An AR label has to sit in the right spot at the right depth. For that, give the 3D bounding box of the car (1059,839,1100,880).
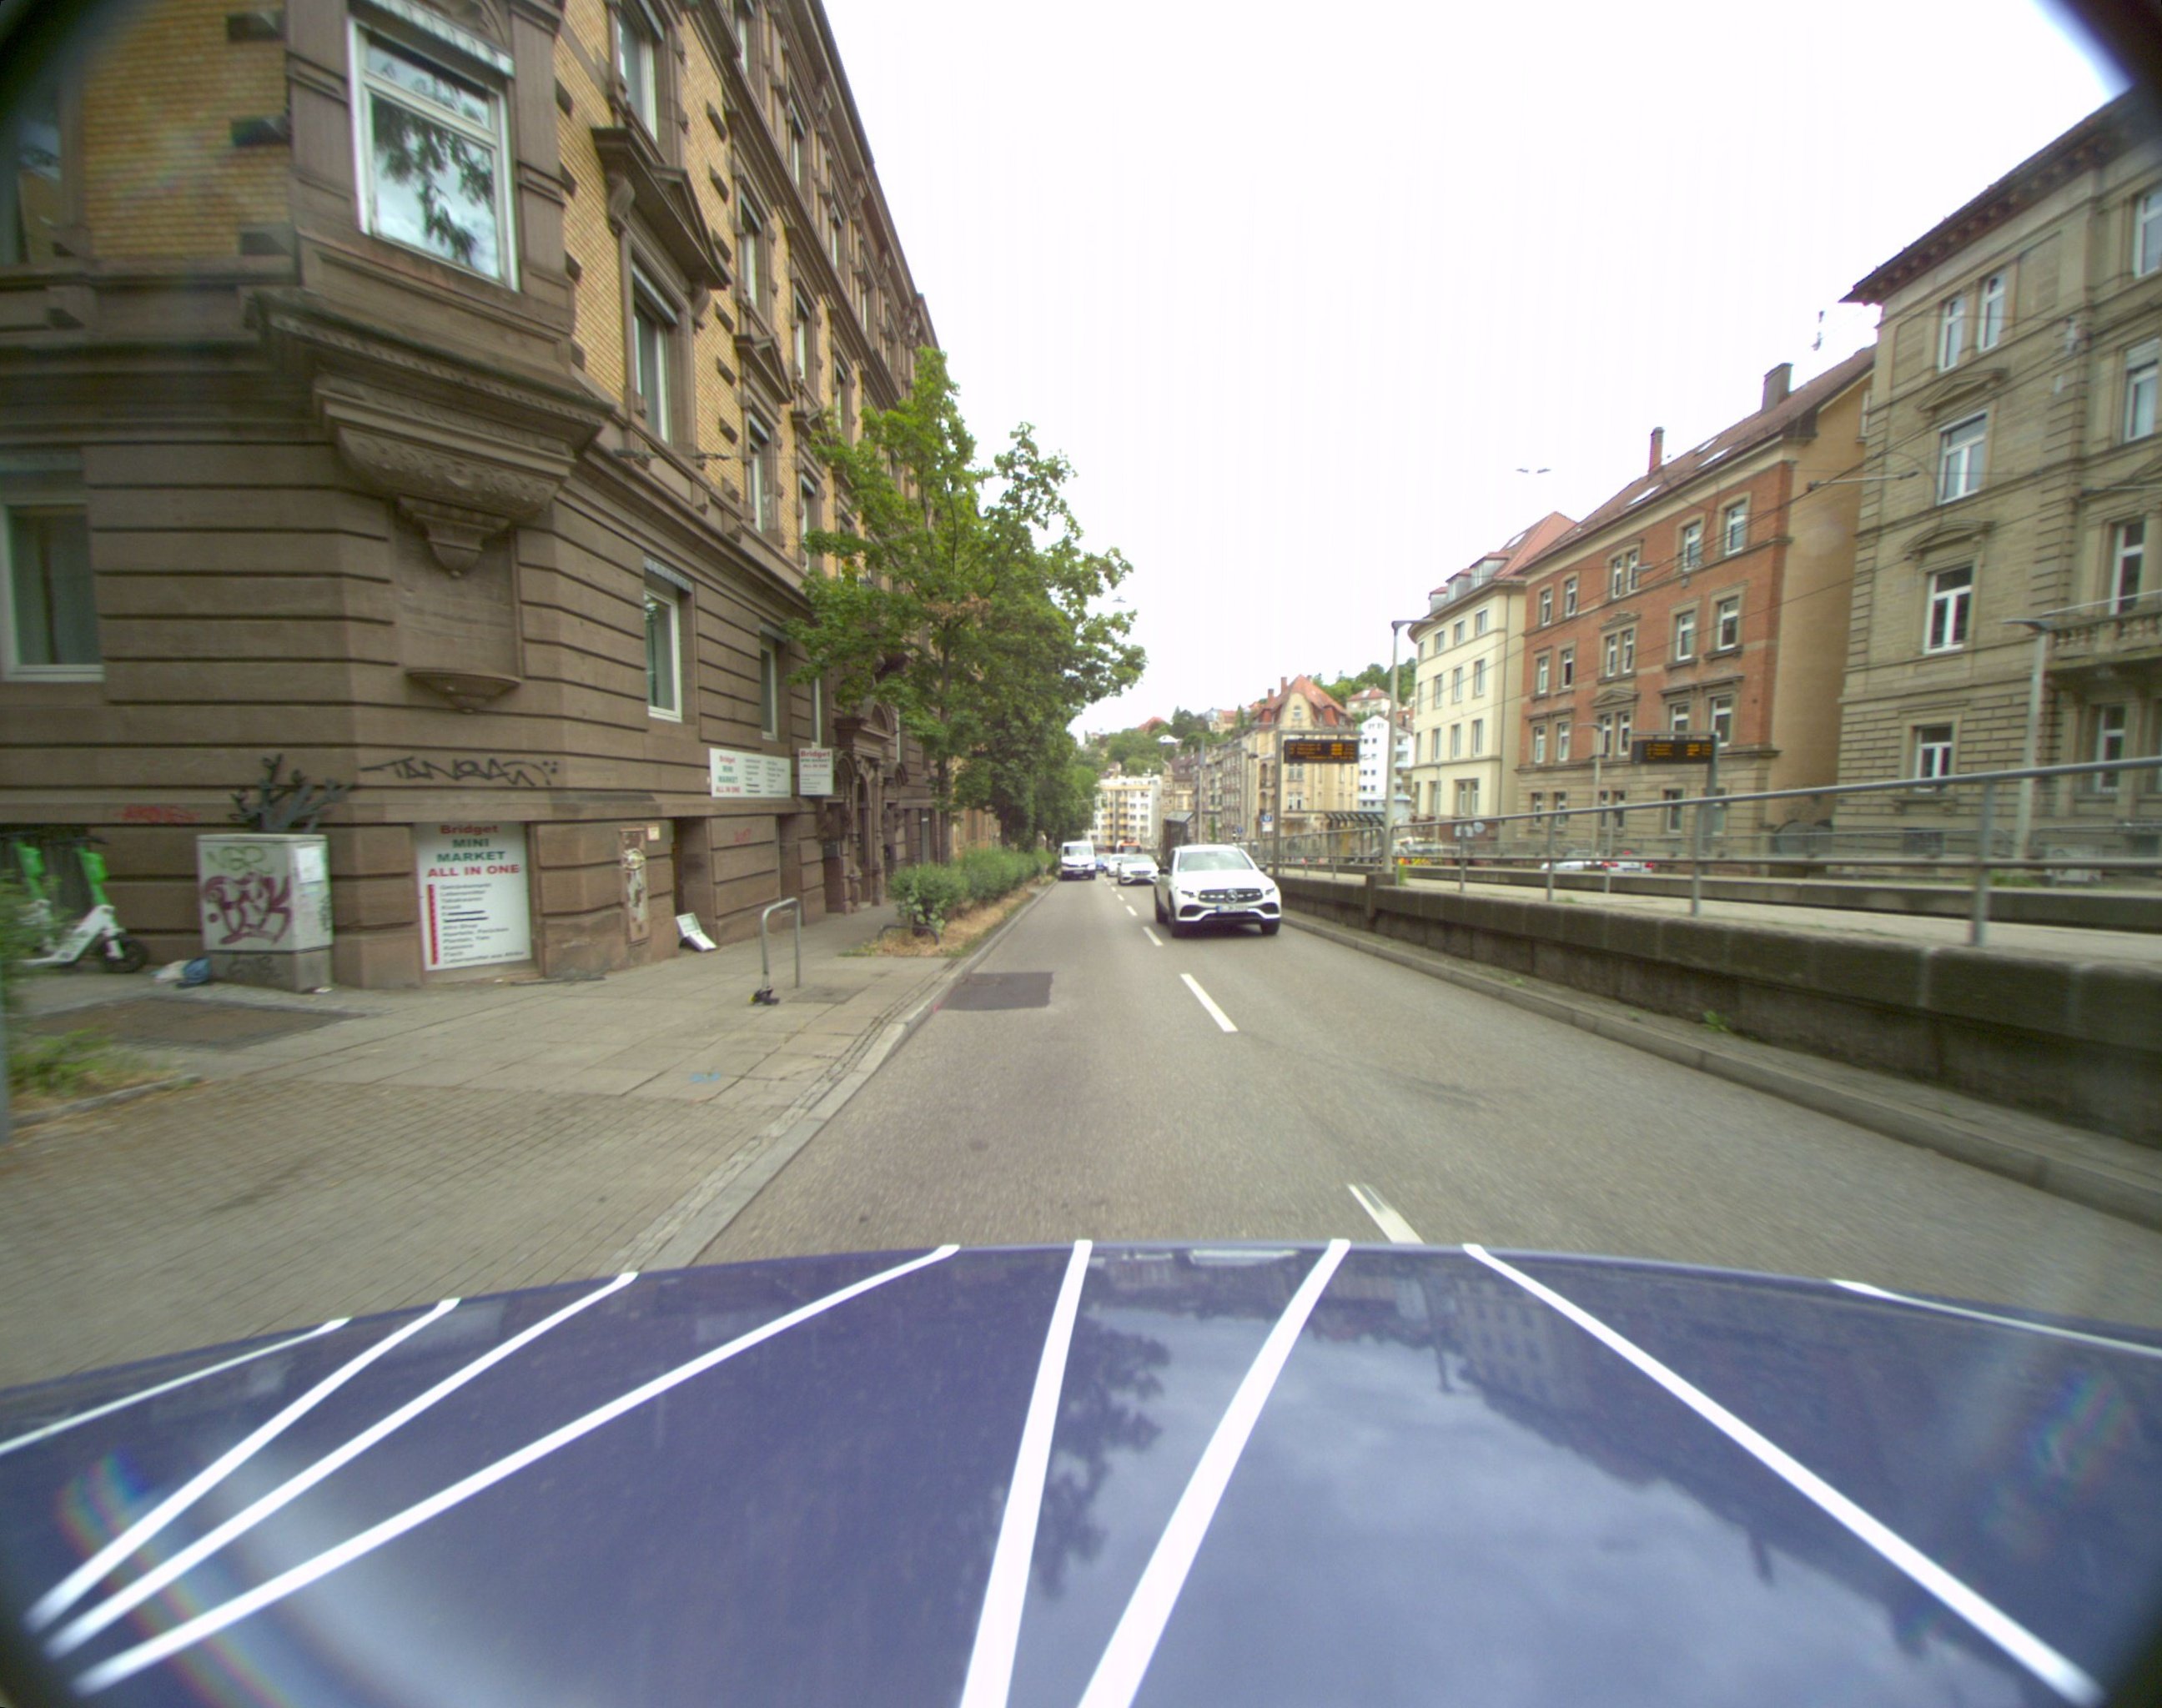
[{"bbox_3d":[-0.088,0.335,46.540,2.263,2.274,5.967,-1,0,0],"label":"car"}]

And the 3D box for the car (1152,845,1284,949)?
[{"bbox_3d":[2.486,0.690,14.917,1.840,1.657,4.670,-2,1,2],"label":"car"}]

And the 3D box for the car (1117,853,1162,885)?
[{"bbox_3d":[2.707,0.666,35.858,1.806,1.391,4.000,-1,0,0],"label":"car"}]

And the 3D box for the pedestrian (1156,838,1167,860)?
[{"bbox_3d":[6.079,-0.367,57.539,0.767,1.705,0.766,0,0,1],"label":"pedestrian"}]

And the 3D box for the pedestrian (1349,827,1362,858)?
[{"bbox_3d":[14.143,-0.586,39.117,0.463,1.553,0.540,0,1,0],"label":"pedestrian"}]

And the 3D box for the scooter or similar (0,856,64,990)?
[{"bbox_3d":[-9.034,0.554,6.133,0.977,1.072,0.238,3,4,-26],"label":"scooter or similar"}]

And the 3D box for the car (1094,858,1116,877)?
[{"bbox_3d":[1.878,1.084,61.443,1.695,1.466,3.857,0,0,0],"label":"car"}]

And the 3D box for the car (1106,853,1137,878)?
[{"bbox_3d":[2.619,0.738,50.252,1.806,1.542,4.000,-1,0,0],"label":"car"}]

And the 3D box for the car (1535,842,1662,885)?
[{"bbox_3d":[19.106,0.320,28.290,1.772,1.462,4.260,-1,0,-1],"label":"car"}]

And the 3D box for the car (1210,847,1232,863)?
[{"bbox_3d":[16.075,0.075,87.457,1.827,1.754,3.864,-2,0,2],"label":"car"}]

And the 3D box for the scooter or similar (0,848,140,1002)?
[{"bbox_3d":[-8.472,0.555,6.023,1.246,1.178,0.285,2,4,-29],"label":"scooter or similar"}]

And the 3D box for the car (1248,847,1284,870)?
[{"bbox_3d":[16.300,0.374,67.080,1.999,1.884,4.414,0,0,-1],"label":"car"}]

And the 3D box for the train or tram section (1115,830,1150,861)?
[{"bbox_3d":[6.274,-0.963,94.713,2.968,3.456,14.406,0,0,-1],"label":"train or tram section"}]

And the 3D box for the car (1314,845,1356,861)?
[{"bbox_3d":[27.407,-0.064,81.997,4.005,1.700,1.996,0,0,-22],"label":"car"}]

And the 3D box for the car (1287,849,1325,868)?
[{"bbox_3d":[19.232,0.357,65.082,1.867,1.636,4.414,0,0,-1],"label":"car"}]

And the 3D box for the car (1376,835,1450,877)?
[{"bbox_3d":[19.322,0.082,44.540,1.998,2.291,5.455,0,0,0],"label":"car"}]

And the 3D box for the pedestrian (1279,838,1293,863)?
[{"bbox_3d":[13.812,-0.255,51.243,0.767,1.678,0.843,0,0,1],"label":"pedestrian"}]
